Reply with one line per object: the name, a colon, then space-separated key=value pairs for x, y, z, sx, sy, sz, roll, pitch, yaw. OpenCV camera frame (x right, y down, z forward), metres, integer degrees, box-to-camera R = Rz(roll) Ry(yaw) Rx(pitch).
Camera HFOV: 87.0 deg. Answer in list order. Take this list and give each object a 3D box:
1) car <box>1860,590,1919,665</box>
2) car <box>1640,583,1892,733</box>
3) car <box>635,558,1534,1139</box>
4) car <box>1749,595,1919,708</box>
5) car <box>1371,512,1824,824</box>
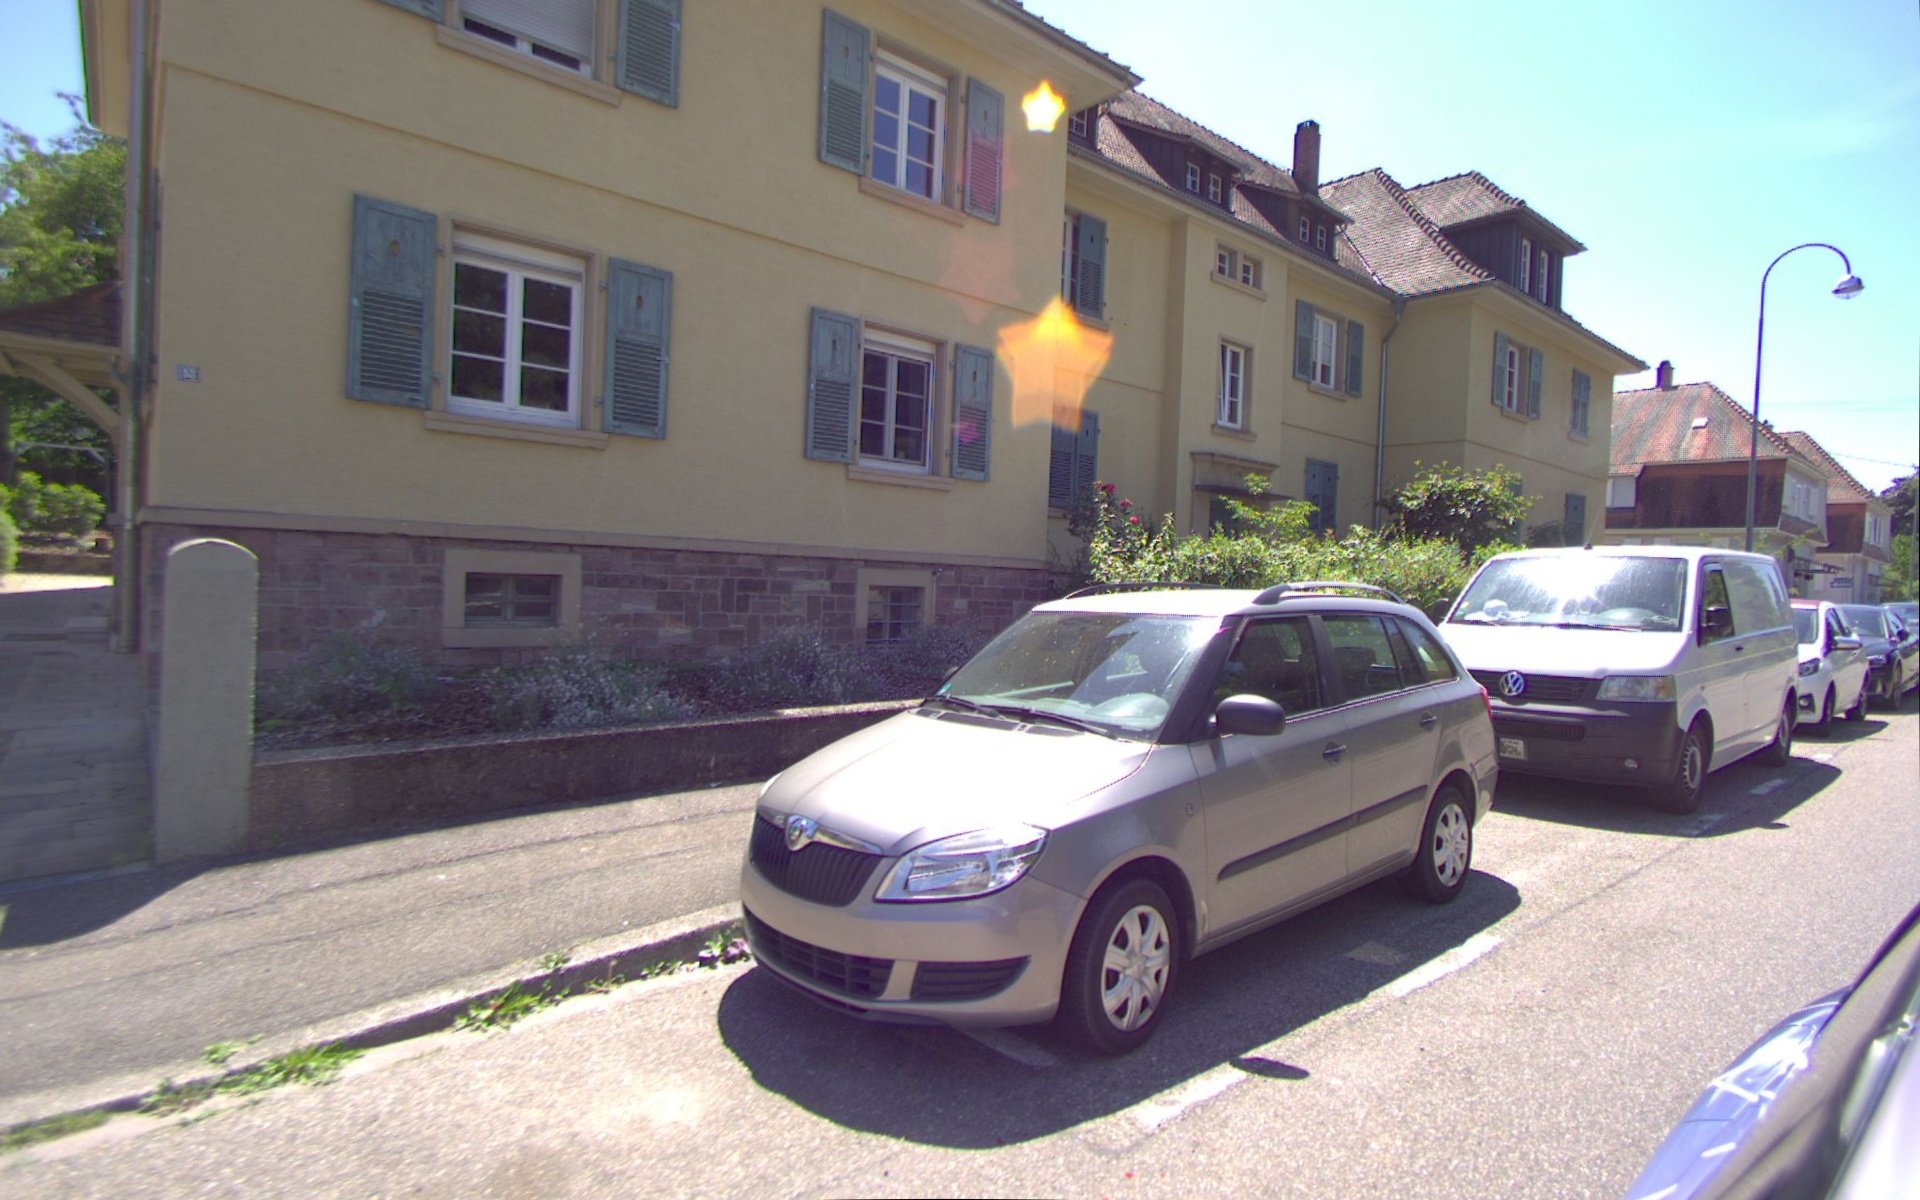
car: x=20.246 y=0.533 z=21.090 sx=4.472 sy=1.436 sz=1.696 roll=0 pitch=2 yaw=-42
car: x=9.675 y=0.586 z=12.066 sx=3.585 sy=1.469 sz=1.764 roll=0 pitch=2 yaw=-42
car: x=0.887 y=0.613 z=4.616 sx=4.150 sy=1.469 sz=1.764 roll=0 pitch=2 yaw=-42
car: x=13.360 y=0.662 z=15.064 sx=4.528 sy=1.388 sz=1.764 roll=0 pitch=2 yaw=-42
car: x=5.579 y=0.413 z=8.573 sx=4.738 sy=1.925 sz=1.997 roll=0 pitch=0 yaw=-41
